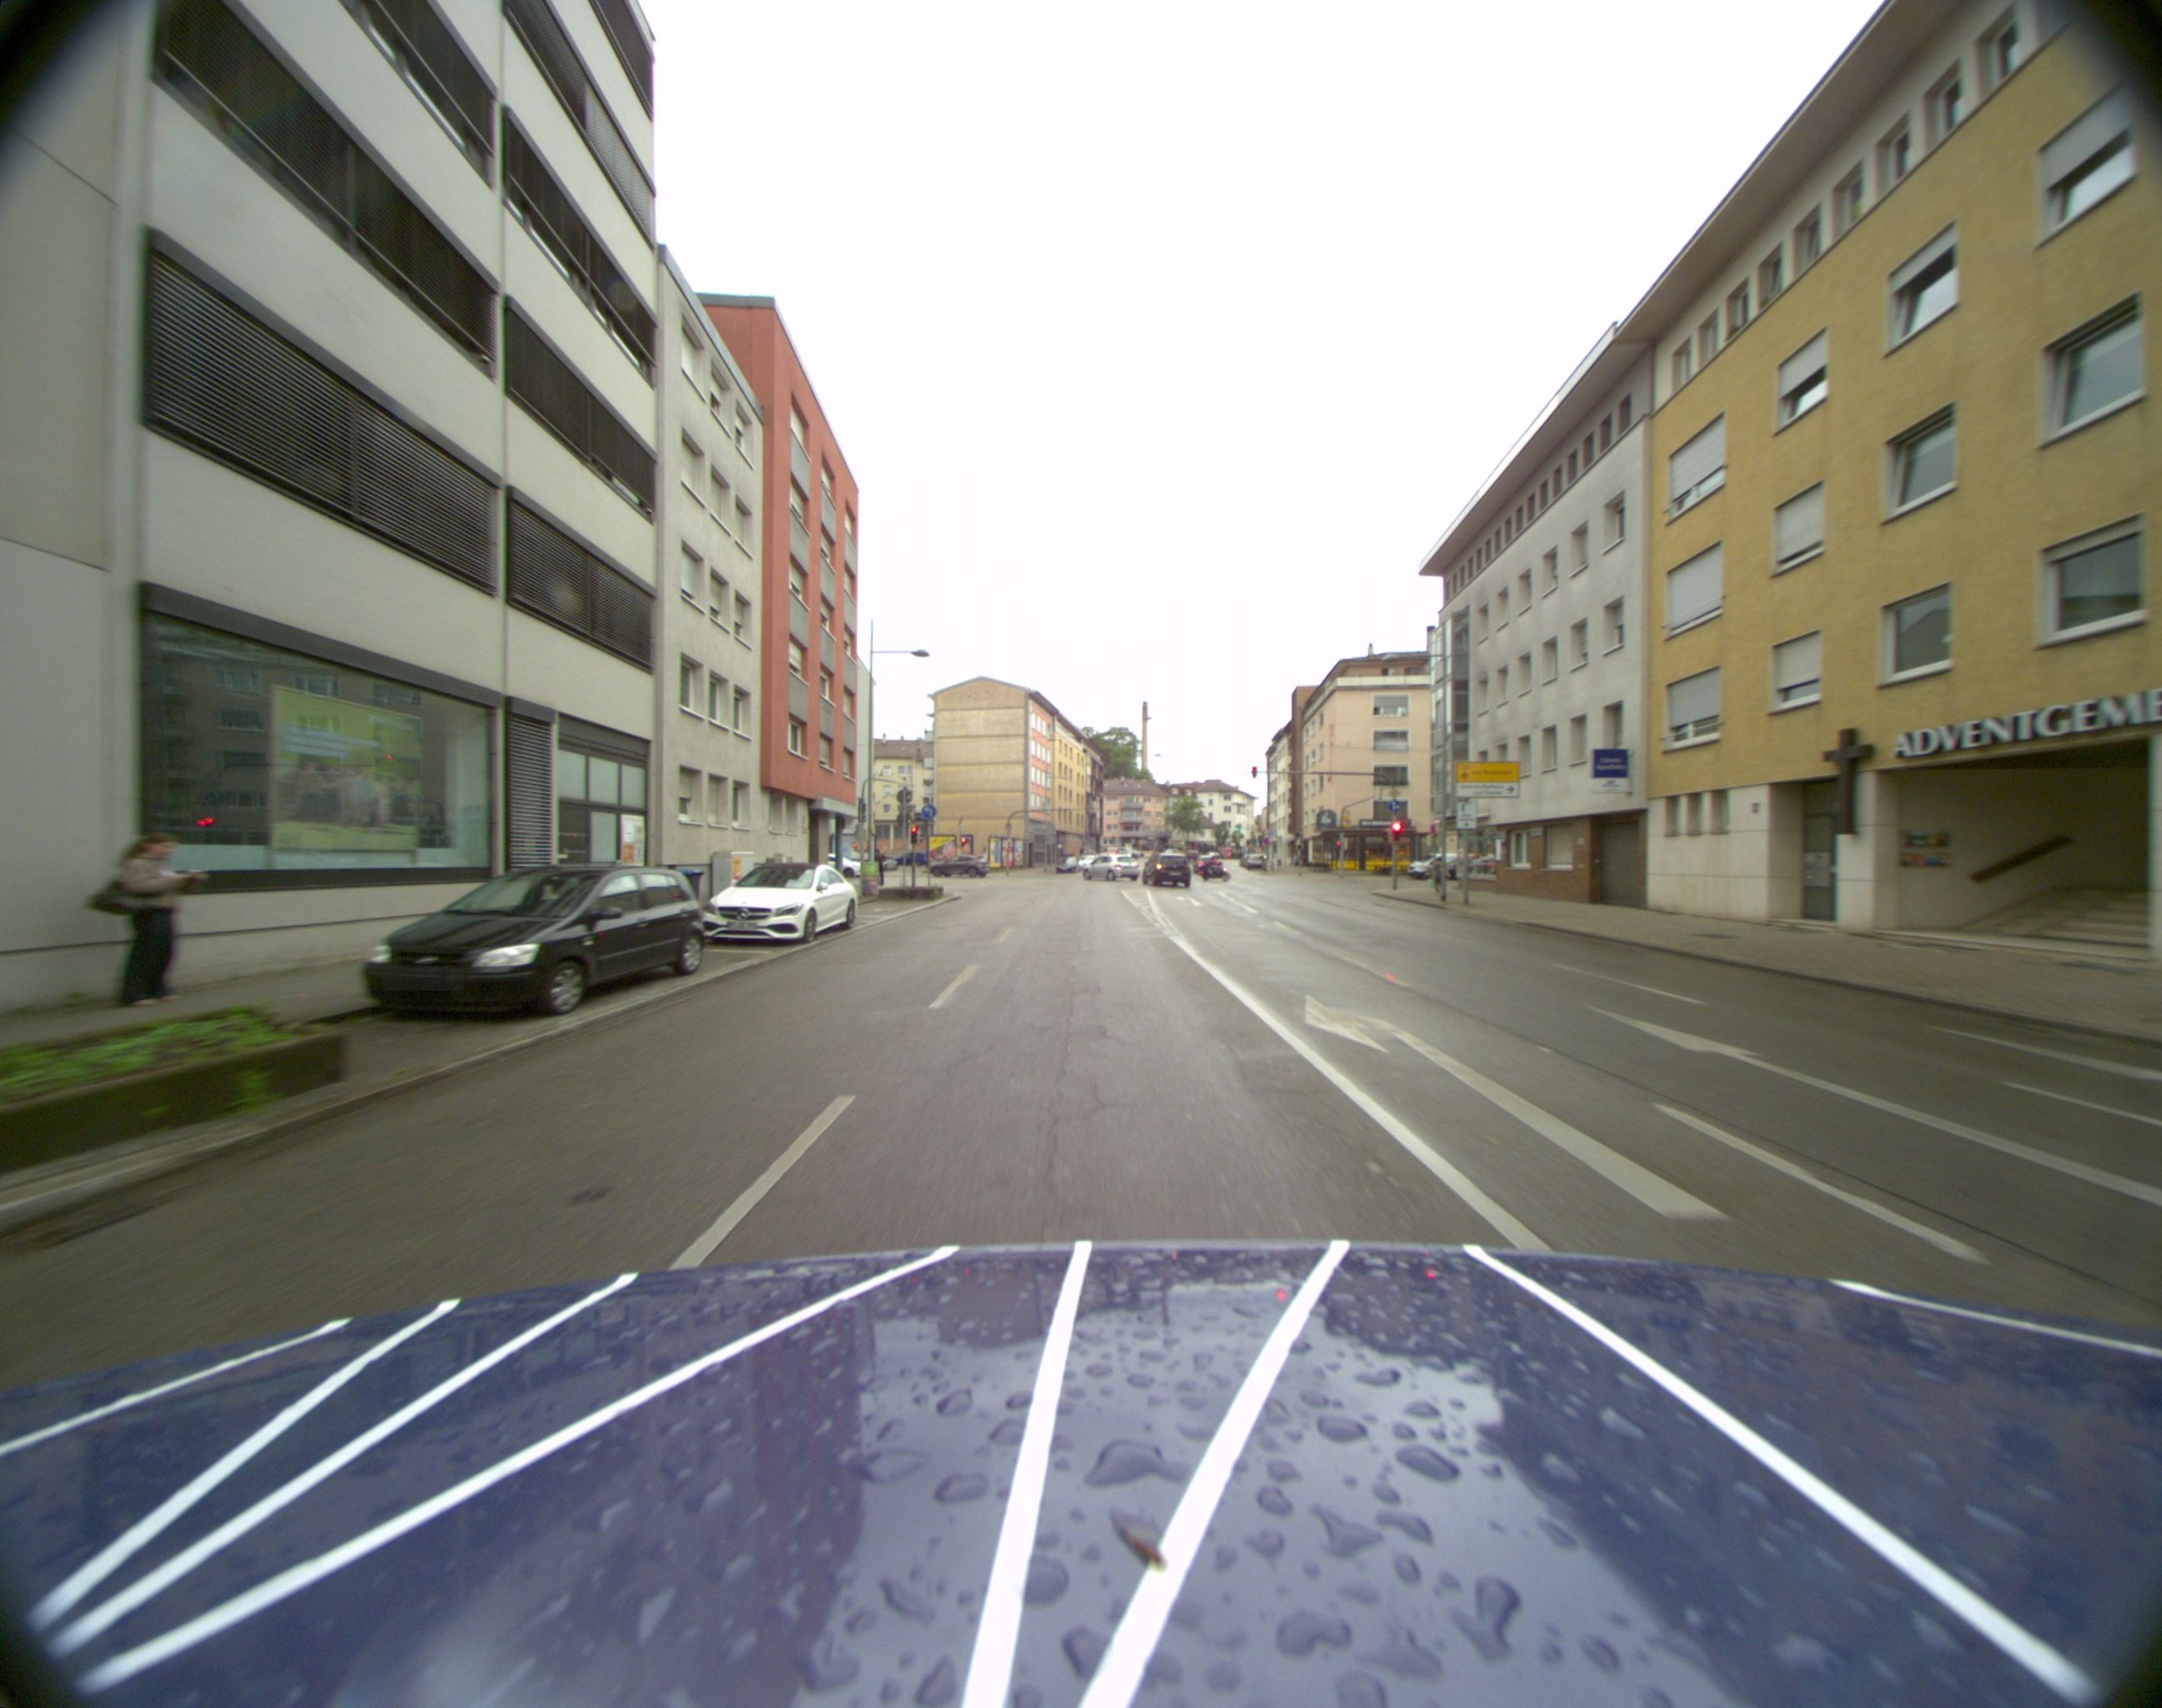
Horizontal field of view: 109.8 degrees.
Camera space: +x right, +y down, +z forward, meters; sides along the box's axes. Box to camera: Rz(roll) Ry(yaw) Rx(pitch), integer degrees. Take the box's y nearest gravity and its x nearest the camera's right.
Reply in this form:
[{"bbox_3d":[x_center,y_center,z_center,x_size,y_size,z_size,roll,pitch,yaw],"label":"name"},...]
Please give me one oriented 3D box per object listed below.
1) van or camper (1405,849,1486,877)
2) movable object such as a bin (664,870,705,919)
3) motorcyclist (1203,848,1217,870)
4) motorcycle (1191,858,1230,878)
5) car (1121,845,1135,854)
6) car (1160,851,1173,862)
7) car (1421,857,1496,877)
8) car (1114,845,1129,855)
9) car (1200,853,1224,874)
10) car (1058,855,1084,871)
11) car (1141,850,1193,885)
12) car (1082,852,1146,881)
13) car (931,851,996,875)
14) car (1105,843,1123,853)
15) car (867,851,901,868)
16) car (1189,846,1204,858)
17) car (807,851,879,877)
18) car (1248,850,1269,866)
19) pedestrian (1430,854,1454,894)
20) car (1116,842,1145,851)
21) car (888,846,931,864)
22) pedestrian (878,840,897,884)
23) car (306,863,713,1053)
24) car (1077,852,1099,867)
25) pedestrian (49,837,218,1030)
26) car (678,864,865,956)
[{"bbox_3d":[26.949,0.626,56.336,5.023,2.002,2.000,0,2,7],"label":"van or camper"},{"bbox_3d":[-9.119,0.935,17.503,0.681,1.097,0.514,0,1,-1],"label":"movable object such as a bin"},{"bbox_3d":[7.821,0.318,46.071,0.871,1.320,0.493,0,1,9],"label":"motorcyclist"},{"bbox_3d":[7.842,0.832,45.901,2.290,1.157,0.775,0,1,10],"label":"motorcycle"},{"bbox_3d":[6.989,-0.665,113.146,1.736,1.389,3.743,0,0,8],"label":"car"},{"bbox_3d":[14.458,0.420,128.348,1.670,1.761,4.003,1,0,11],"label":"car"},{"bbox_3d":[25.011,0.820,50.425,4.094,1.282,1.842,0,0,2],"label":"car"},{"bbox_3d":[5.651,-0.613,106.178,1.736,1.389,3.744,0,0,9],"label":"car"},{"bbox_3d":[10.327,0.685,60.098,1.747,1.586,4.002,0,0,8],"label":"car"},{"bbox_3d":[-0.852,0.787,67.105,1.736,1.389,3.744,0,0,8],"label":"car"},{"bbox_3d":[4.212,0.638,37.851,1.879,1.674,3.998,0,0,-4],"label":"car"},{"bbox_3d":[1.891,0.693,44.803,1.840,1.612,3.990,0,0,-31],"label":"car"},{"bbox_3d":[-8.003,0.595,51.871,3.993,1.612,1.838,0,1,12],"label":"car"},{"bbox_3d":[4.370,-0.774,100.993,1.736,1.389,3.745,0,0,13],"label":"car"},{"bbox_3d":[-17.093,0.438,66.008,1.737,1.448,3.742,0,0,4],"label":"car"},{"bbox_3d":[14.608,-0.242,95.977,1.590,1.518,3.491,0,0,14],"label":"car"},{"bbox_3d":[-15.221,0.601,48.784,3.995,1.612,1.837,0,1,4],"label":"car"},{"bbox_3d":[17.705,0.394,75.847,1.833,1.612,4.003,0,0,11],"label":"car"},{"bbox_3d":[14.735,0.817,31.053,0.785,1.578,0.674,-2,0,21],"label":"pedestrian"},{"bbox_3d":[8.215,-1.203,126.892,2.038,1.522,4.894,0,0,-40],"label":"car"},{"bbox_3d":[-17.091,0.083,75.920,3.783,1.701,1.842,0,1,20],"label":"car"},{"bbox_3d":[-9.657,0.388,37.851,0.806,2.140,0.737,0,1,-23],"label":"pedestrian"},{"bbox_3d":[-5.890,0.933,8.512,1.706,1.549,3.804,2,0,-1],"label":"car"},{"bbox_3d":[0.705,0.536,75.352,1.736,1.389,3.744,0,0,8],"label":"car"},{"bbox_3d":[-8.604,0.691,6.932,0.599,1.650,0.691,3,0,-6],"label":"pedestrian"},{"bbox_3d":[-5.767,0.961,14.861,1.835,1.412,4.569,1,0,-1],"label":"car"}]
